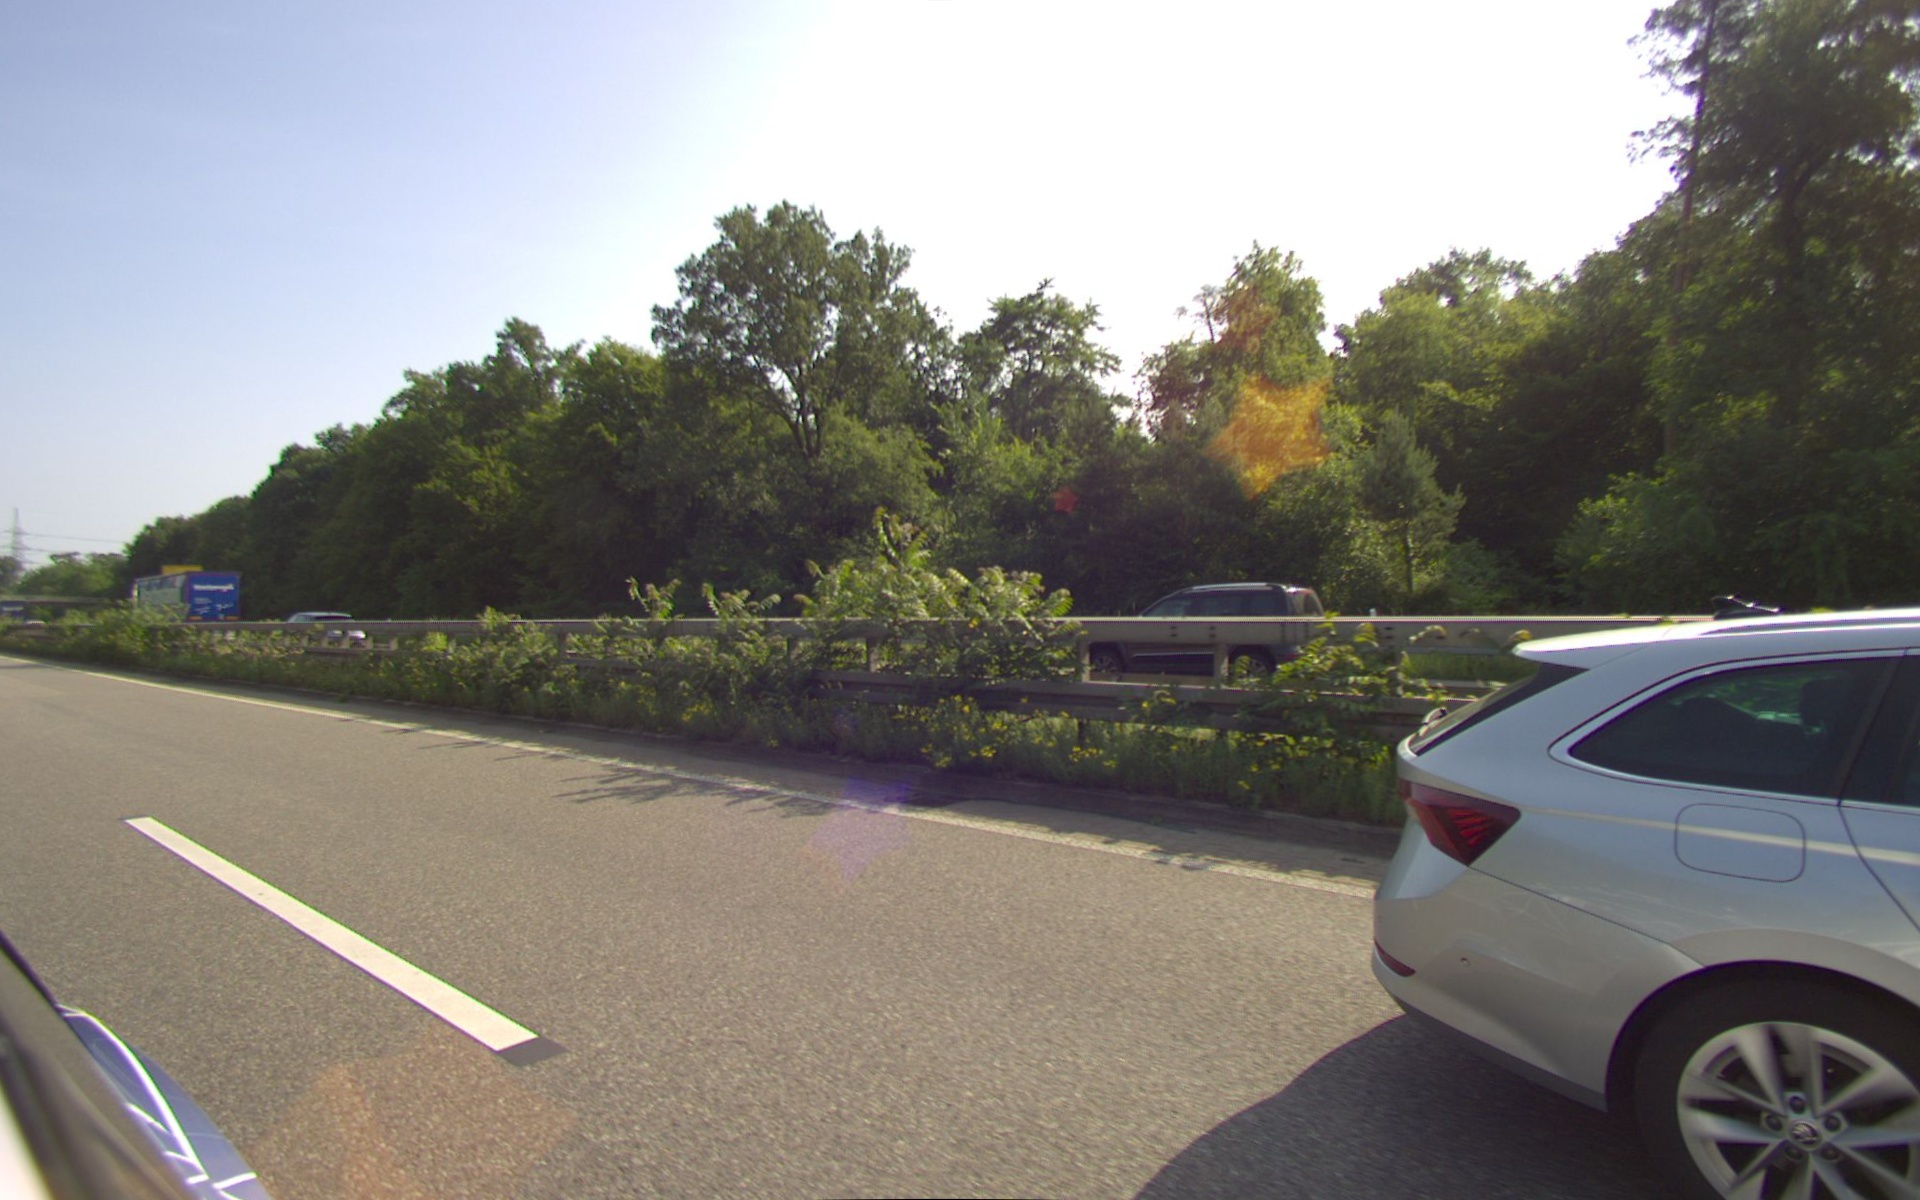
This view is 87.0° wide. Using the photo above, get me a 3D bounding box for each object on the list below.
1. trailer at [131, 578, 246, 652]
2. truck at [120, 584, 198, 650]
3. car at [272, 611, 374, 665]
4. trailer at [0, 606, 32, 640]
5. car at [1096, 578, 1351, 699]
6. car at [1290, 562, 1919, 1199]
[{"bbox_3d":[-46.461,1.009,60.693,13.317,4.039,2.862,-2,-3,42],"label":"trailer"},{"bbox_3d":[-51.911,1.175,65.533,6.022,4.063,2.862,-2,-3,41],"label":"truck"},{"bbox_3d":[-20.409,1.180,32.383,3.663,1.599,1.726,-2,-1,40],"label":"car"},{"bbox_3d":[-119.970,2.926,127.523,14.309,4.101,2.935,-2,-2,41],"label":"trailer"},{"bbox_3d":[4.089,0.567,15.921,3.502,1.704,1.634,-2,-1,39],"label":"car"},{"bbox_3d":[3.485,0.625,1.740,5.276,1.449,1.773,-2,-2,41],"label":"car"}]
